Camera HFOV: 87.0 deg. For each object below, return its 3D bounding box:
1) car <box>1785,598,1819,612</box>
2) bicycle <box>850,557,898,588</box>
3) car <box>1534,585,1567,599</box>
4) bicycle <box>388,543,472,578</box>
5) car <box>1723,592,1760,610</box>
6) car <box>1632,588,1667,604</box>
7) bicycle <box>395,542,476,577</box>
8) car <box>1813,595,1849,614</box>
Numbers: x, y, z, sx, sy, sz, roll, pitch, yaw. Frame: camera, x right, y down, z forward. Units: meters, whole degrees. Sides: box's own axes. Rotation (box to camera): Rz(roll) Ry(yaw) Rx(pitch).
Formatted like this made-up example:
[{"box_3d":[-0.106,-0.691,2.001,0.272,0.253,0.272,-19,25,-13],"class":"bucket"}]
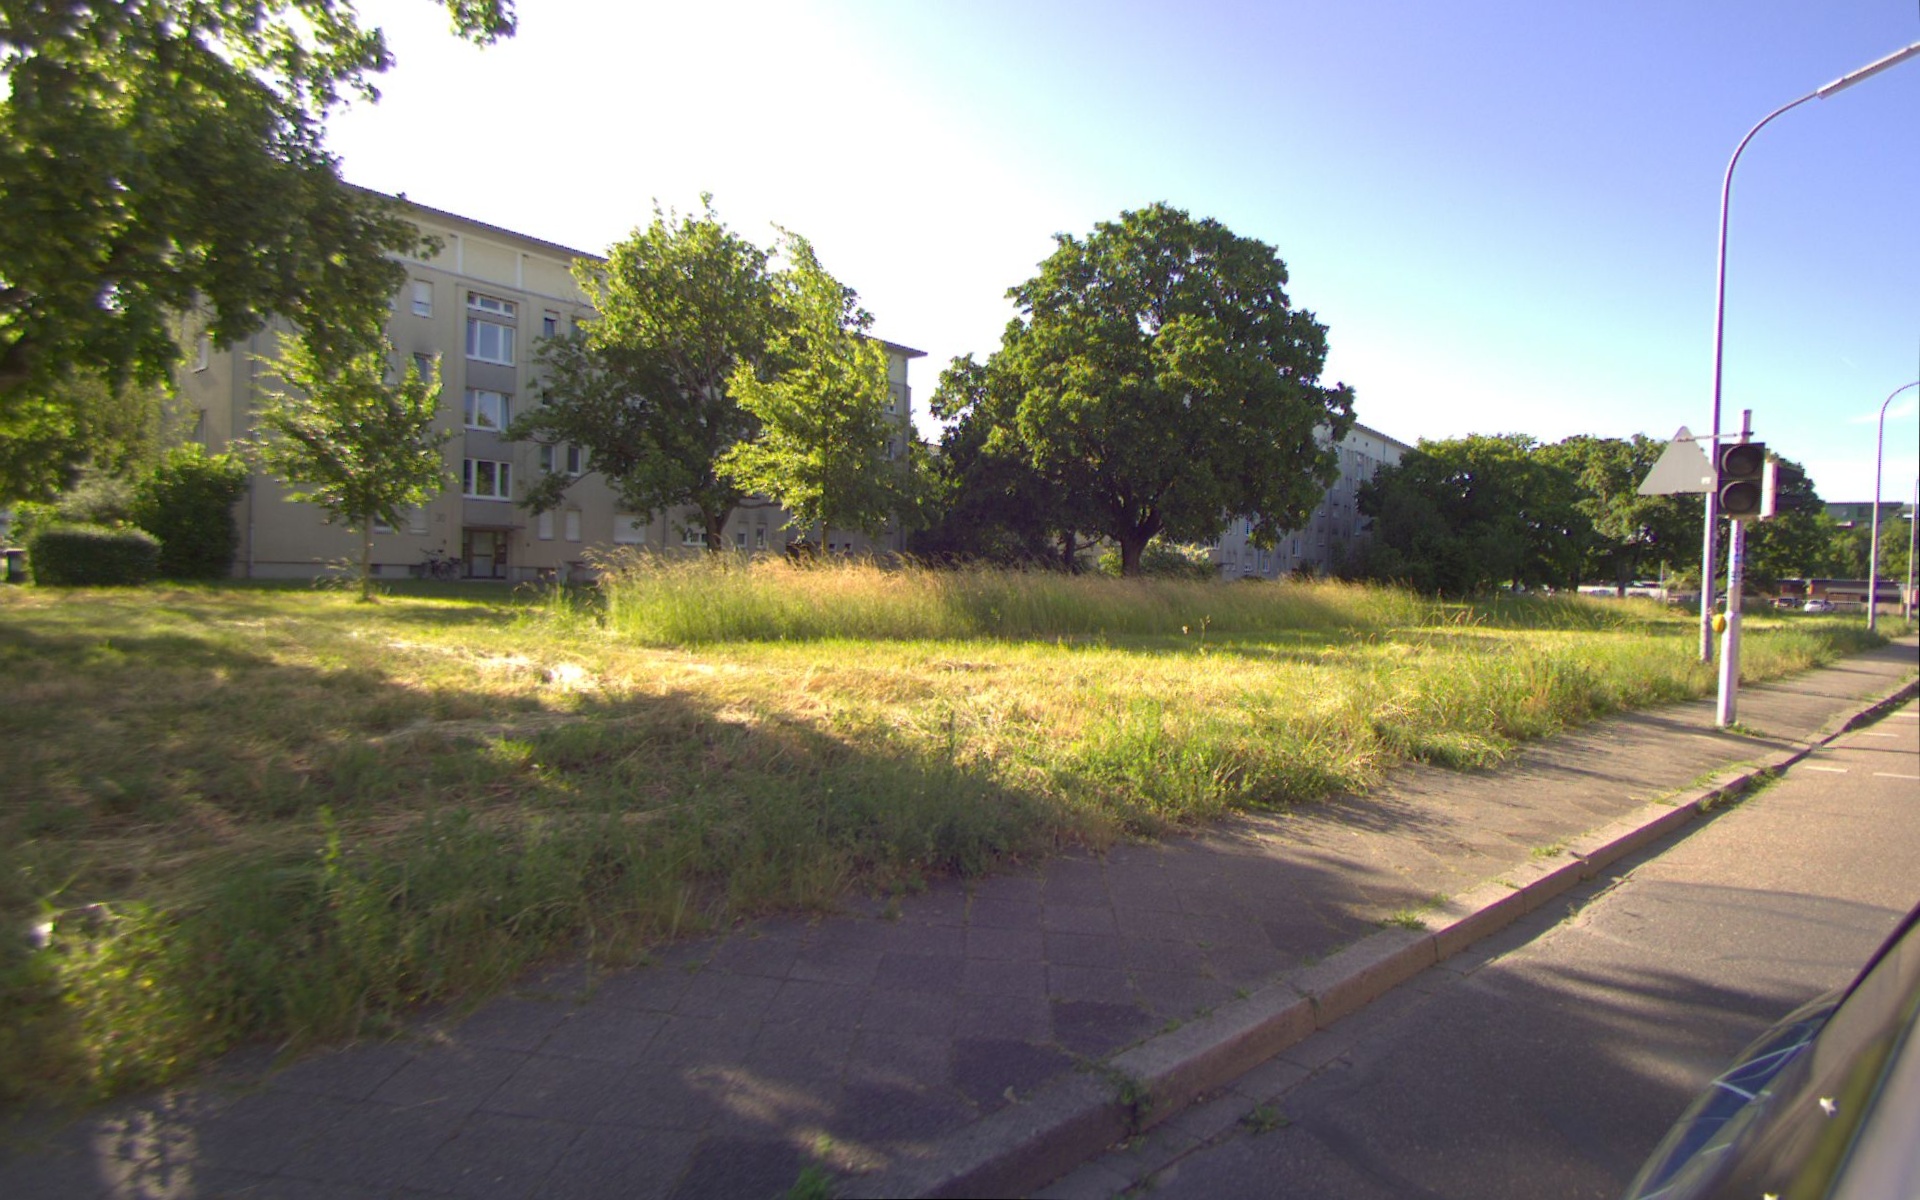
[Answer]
[{"box_3d":[89.573,0.581,107.644,3.923,1.340,1.783,1,2,-34],"class":"car"},{"box_3d":[-4.507,-1.432,53.294,0.779,1.544,2.715,4,3,40],"class":"bicycle"},{"box_3d":[76.991,-1.071,131.951,3.920,1.580,1.960,1,2,-31],"class":"car"},{"box_3d":[-19.101,-1.408,36.547,0.930,1.219,2.676,3,2,23],"class":"bicycle"},{"box_3d":[86.554,0.110,112.039,3.920,1.795,1.864,1,2,-31],"class":"car"},{"box_3d":[82.608,-0.444,121.226,3.921,1.795,1.960,-1,3,-31],"class":"car"},{"box_3d":[-19.526,-1.480,37.763,0.930,1.219,2.676,3,2,23],"class":"bicycle"},{"box_3d":[90.958,0.491,105.689,3.925,1.882,1.957,1,2,-37],"class":"car"}]
